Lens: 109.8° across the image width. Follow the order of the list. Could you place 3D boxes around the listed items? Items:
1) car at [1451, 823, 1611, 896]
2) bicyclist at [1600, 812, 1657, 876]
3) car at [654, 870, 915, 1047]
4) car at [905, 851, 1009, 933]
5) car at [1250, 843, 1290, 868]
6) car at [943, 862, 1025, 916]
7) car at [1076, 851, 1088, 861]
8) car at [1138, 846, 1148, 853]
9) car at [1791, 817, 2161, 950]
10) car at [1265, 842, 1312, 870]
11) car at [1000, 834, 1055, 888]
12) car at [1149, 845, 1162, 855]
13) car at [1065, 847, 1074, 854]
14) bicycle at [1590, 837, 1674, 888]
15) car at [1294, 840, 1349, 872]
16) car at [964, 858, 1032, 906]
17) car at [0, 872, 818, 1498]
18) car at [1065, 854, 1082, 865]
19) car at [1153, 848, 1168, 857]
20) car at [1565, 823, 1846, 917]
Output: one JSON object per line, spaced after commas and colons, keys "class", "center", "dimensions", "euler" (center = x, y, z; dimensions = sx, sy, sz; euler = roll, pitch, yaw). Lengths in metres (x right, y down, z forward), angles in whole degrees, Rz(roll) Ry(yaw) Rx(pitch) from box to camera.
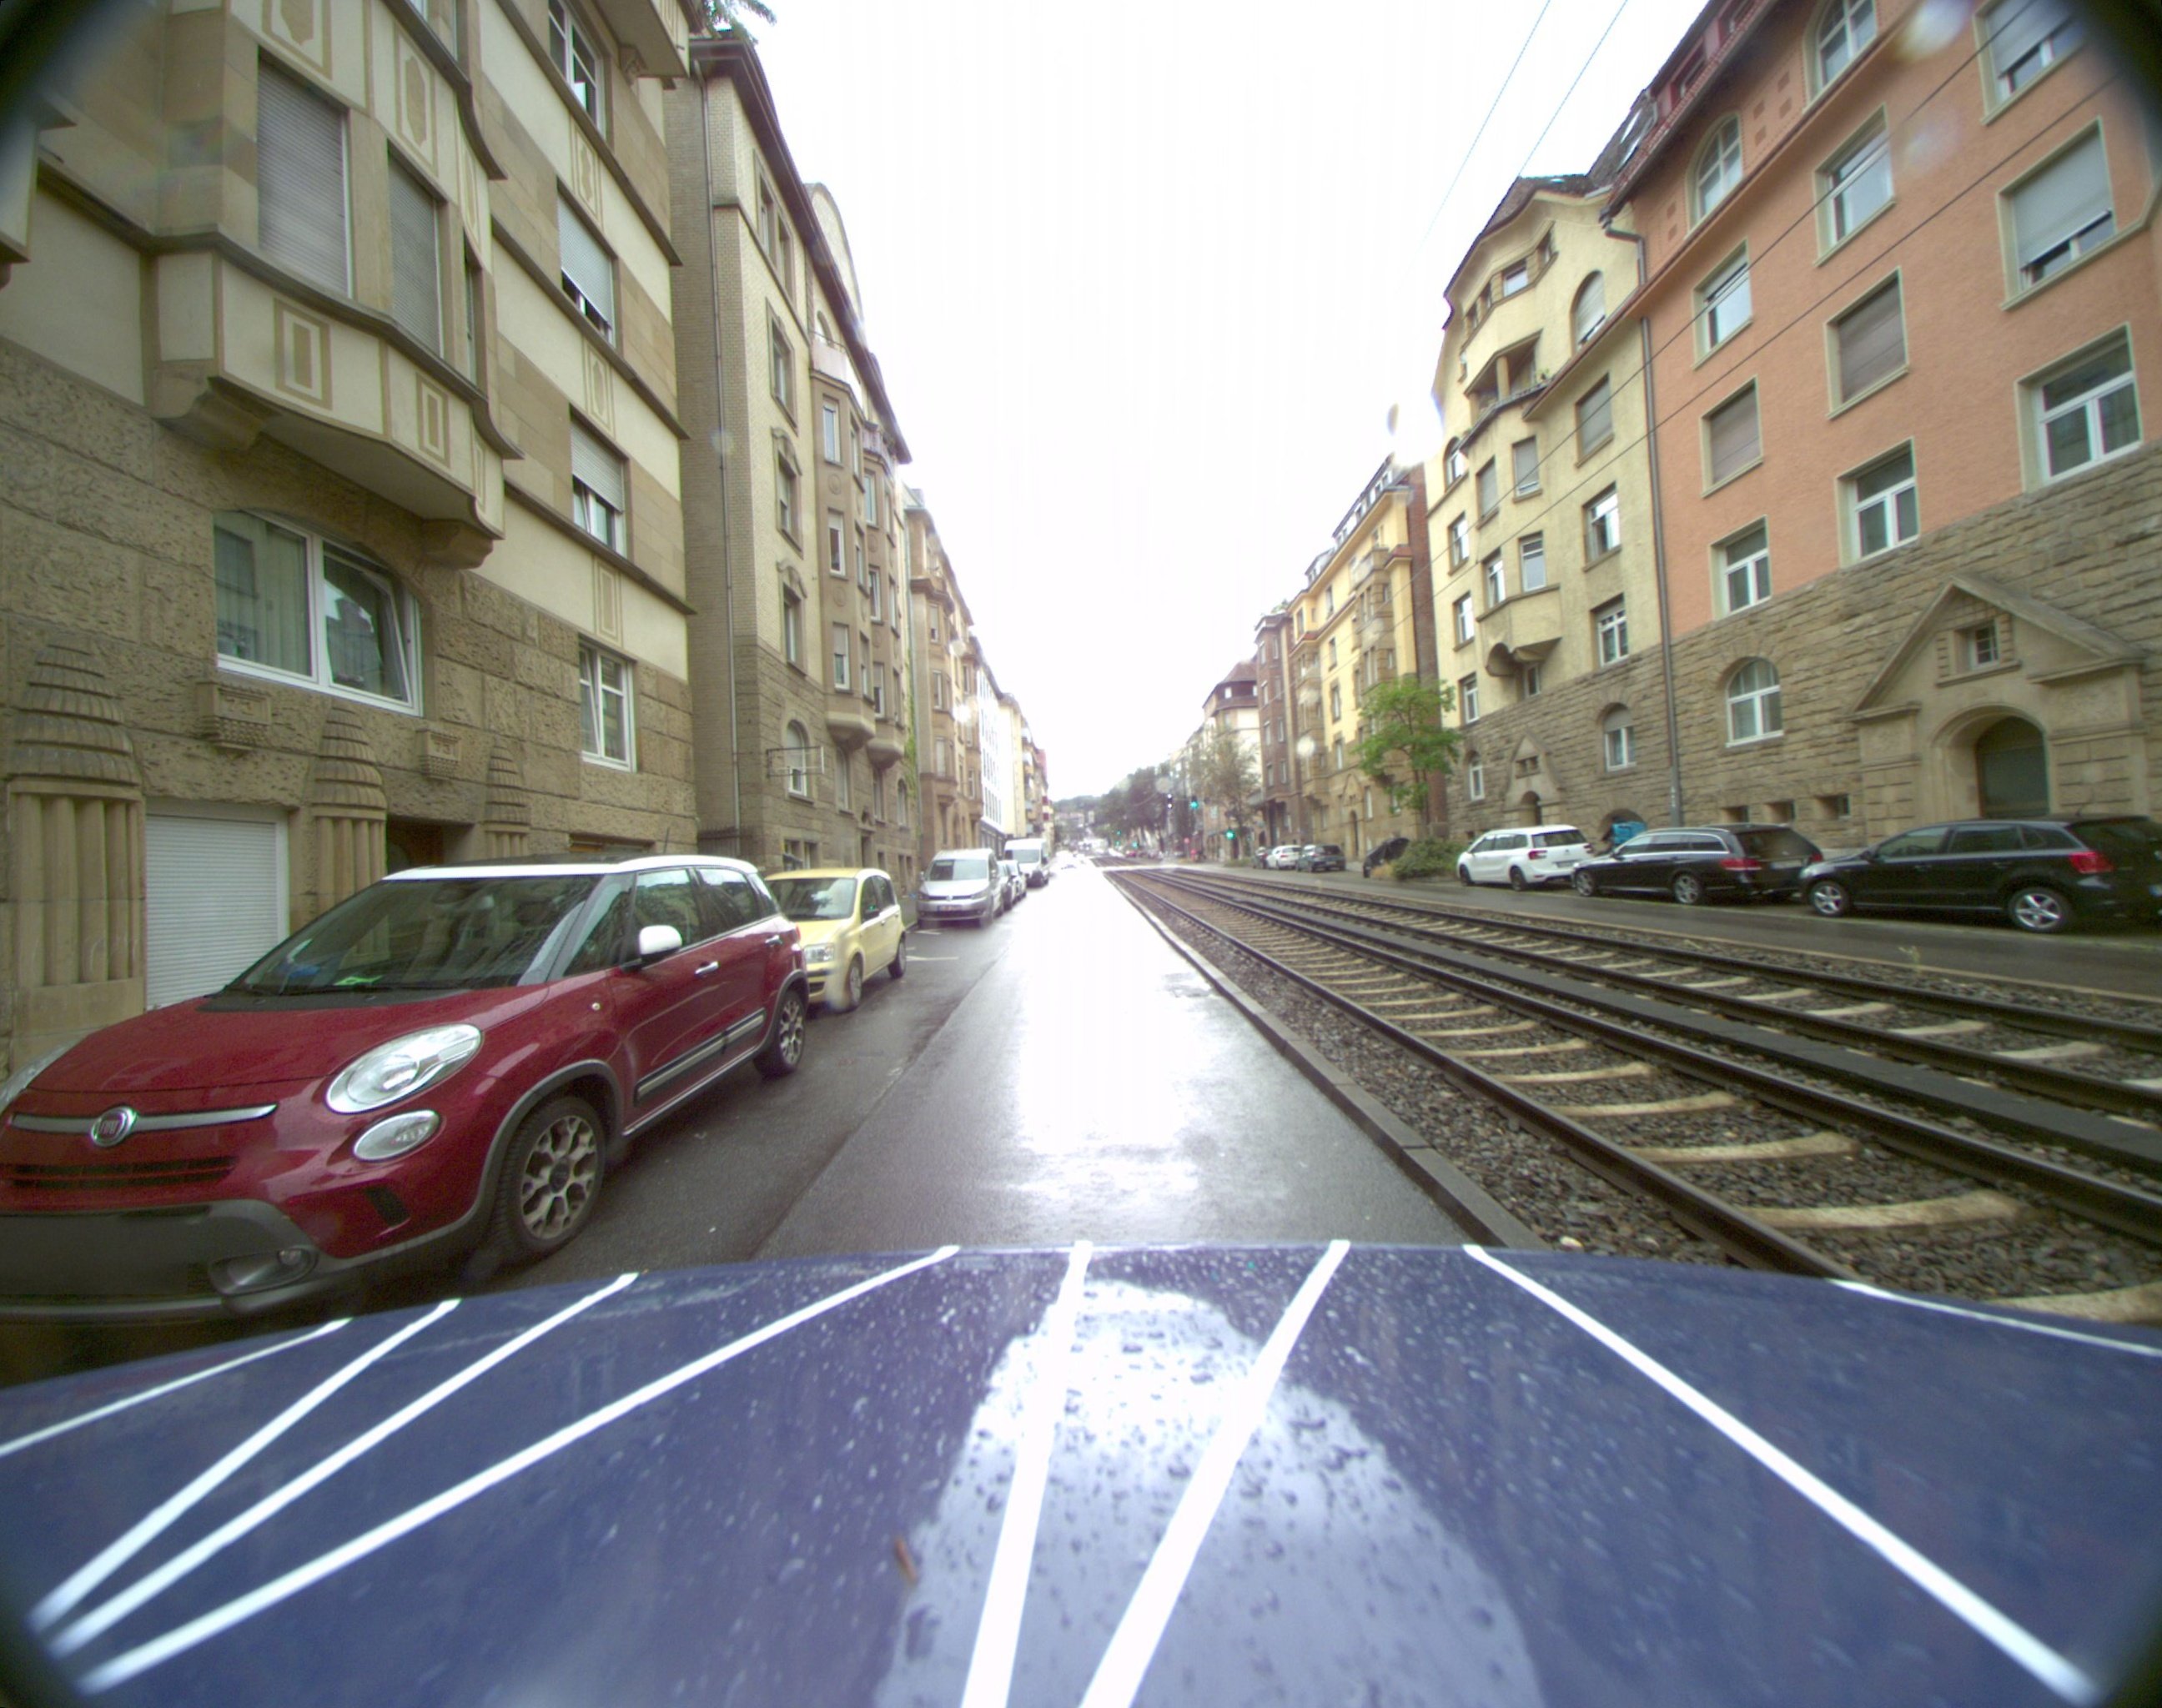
{"class": "car", "center": [12.226, 0.108, 21.014], "dimensions": [1.759, 1.663, 4.259], "euler": [-5, 1, 0]}
{"class": "bicyclist", "center": [14.232, -0.252, 19.779], "dimensions": [0.894, 1.592, 0.774], "euler": [-2, 1, 1]}
{"class": "car", "center": [-3.192, 1.031, 8.962], "dimensions": [1.632, 1.502, 3.531], "euler": [-3, 0, -1]}
{"class": "car", "center": [-2.951, 0.836, 18.931], "dimensions": [1.811, 1.758, 3.962], "euler": [-2, 0, 1]}
{"class": "car", "center": [12.580, 0.077, 50.718], "dimensions": [1.759, 1.419, 3.712], "euler": [-5, 1, 2]}
{"class": "car", "center": [-2.921, 1.018, 23.748], "dimensions": [1.931, 1.380, 3.982], "euler": [-3, 0, 1]}
{"class": "car", "center": [0.179, 0.226, 112.613], "dimensions": [1.794, 1.339, 4.257], "euler": [-2, 1, 1]}
{"class": "car", "center": [12.805, -1.012, 157.525], "dimensions": [1.794, 1.339, 4.257], "euler": [-2, 1, 0]}
{"class": "car", "center": [12.443, 0.299, 10.445], "dimensions": [1.760, 1.396, 3.694], "euler": [-5, 1, -2]}
{"class": "car", "center": [12.436, 0.068, 45.735], "dimensions": [1.759, 1.443, 4.043], "euler": [-5, 1, 2]}
{"class": "car", "center": [-2.711, 0.314, 39.912], "dimensions": [1.991, 2.520, 6.155], "euler": [-3, 0, 3]}
{"class": "car", "center": [12.444, -0.627, 127.087], "dimensions": [1.794, 1.609, 4.257], "euler": [-2, 1, 0]}
{"class": "car", "center": [-2.636, -0.738, 172.236], "dimensions": [1.794, 1.459, 4.257], "euler": [-2, 1, 1]}
{"class": "bicycle", "center": [14.254, 0.201, 19.734], "dimensions": [0.694, 1.215, 2.052], "euler": [-2, 1, 1]}
{"class": "car", "center": [12.493, 0.071, 39.672], "dimensions": [1.717, 1.473, 3.712], "euler": [-5, 1, 2]}
{"class": "car", "center": [-2.997, 0.965, 28.181], "dimensions": [1.935, 1.516, 4.058], "euler": [-3, 0, 1]}
{"class": "car", "center": [-2.991, 0.967, 4.078], "dimensions": [1.774, 1.592, 3.999], "euler": [-1, 0, -1]}
{"class": "car", "center": [-0.816, 0.591, 83.147], "dimensions": [1.737, 1.262, 4.258], "euler": [0, 0, 1]}
{"class": "car", "center": [12.047, -0.234, 115.501], "dimensions": [1.794, 1.339, 4.257], "euler": [-2, 1, 0]}
{"class": "car", "center": [12.202, 0.249, 15.351], "dimensions": [1.760, 1.482, 4.597], "euler": [-4, 1, -1]}
